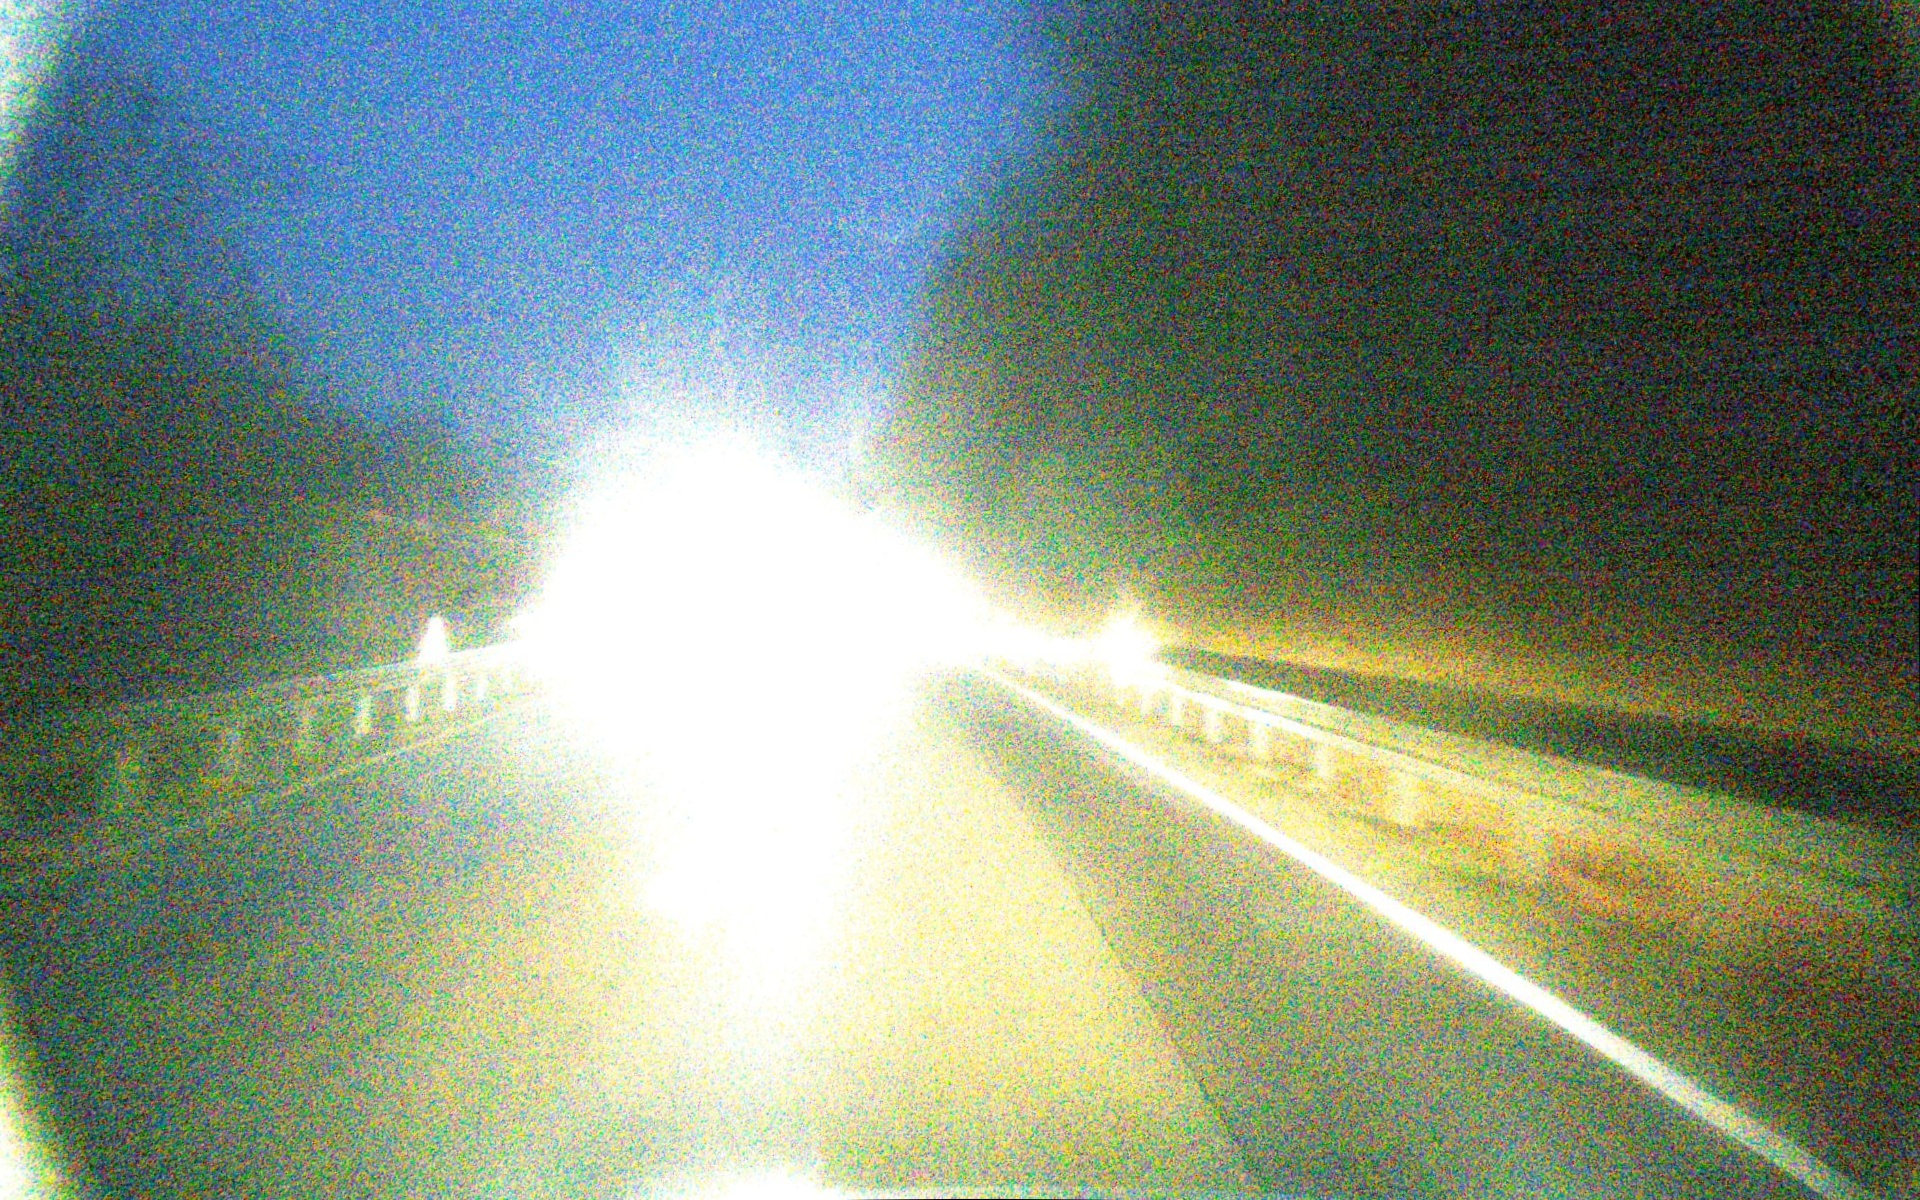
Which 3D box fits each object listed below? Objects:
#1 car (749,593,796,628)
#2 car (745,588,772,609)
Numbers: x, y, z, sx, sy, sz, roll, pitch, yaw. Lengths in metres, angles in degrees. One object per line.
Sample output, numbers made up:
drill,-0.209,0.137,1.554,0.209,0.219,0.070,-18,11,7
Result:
car,-8.323,0.450,73.586,1.954,1.497,3.833,1,0,-5
car,-14.011,-0.092,115.191,1.770,1.362,4.184,1,0,-5
